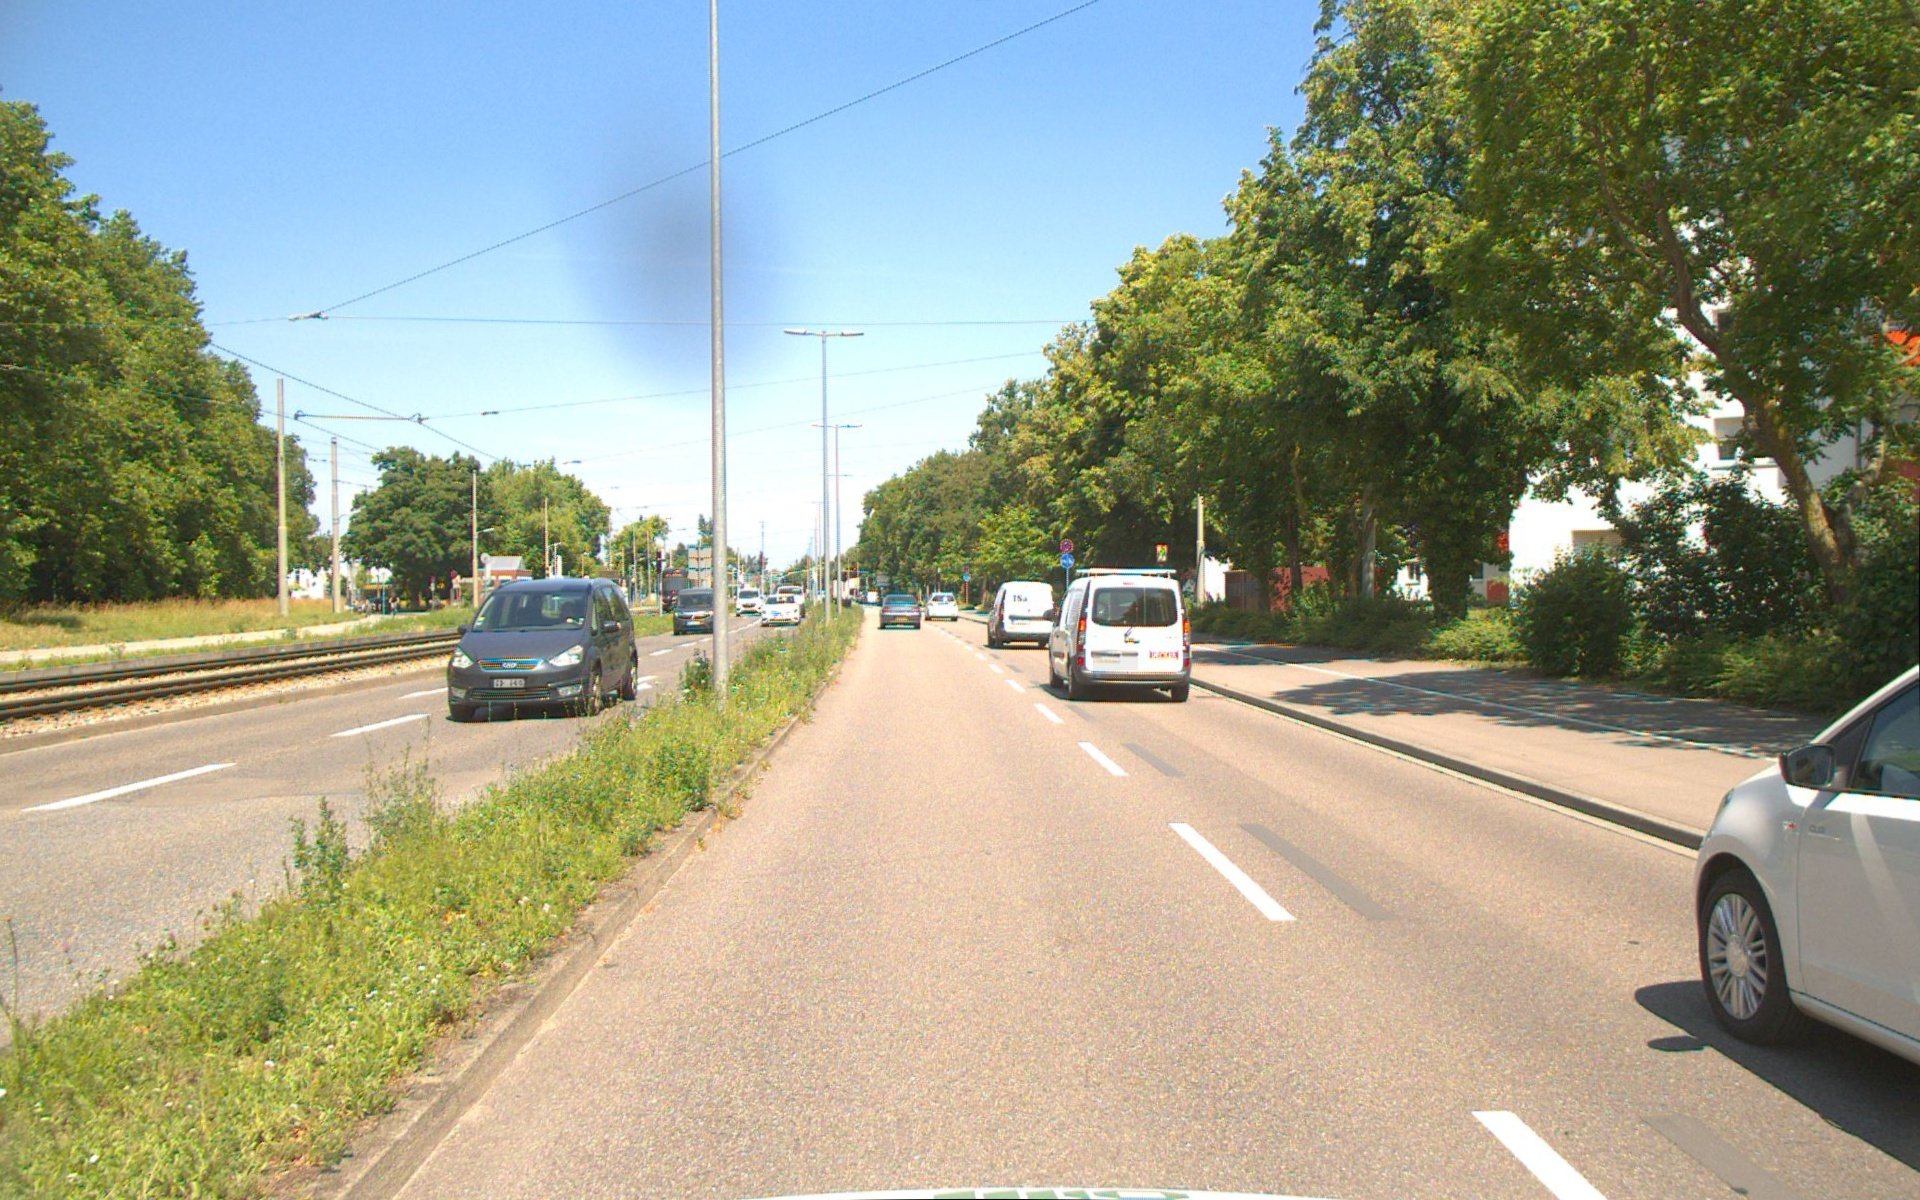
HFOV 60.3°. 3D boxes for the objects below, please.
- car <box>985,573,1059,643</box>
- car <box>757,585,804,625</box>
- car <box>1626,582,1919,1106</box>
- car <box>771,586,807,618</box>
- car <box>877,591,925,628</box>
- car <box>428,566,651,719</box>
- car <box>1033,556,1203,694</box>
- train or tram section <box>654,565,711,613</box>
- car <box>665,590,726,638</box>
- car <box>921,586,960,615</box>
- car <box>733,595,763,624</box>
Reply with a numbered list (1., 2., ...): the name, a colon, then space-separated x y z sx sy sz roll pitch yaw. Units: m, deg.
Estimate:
1. car: 1.682 0.201 45.907 1.693 1.845 3.998 1 1 -3
2. car: -8.408 0.238 77.715 1.793 1.769 4.036 -2 0 -2
3. car: 3.517 0.693 4.670 1.625 1.475 3.853 1 0 -2
4. car: -10.776 0.109 104.273 1.793 1.939 5.564 -2 0 -2
5. car: -2.480 0.373 68.947 1.767 1.512 3.995 0 0 -6
6. car: -5.399 0.482 21.885 1.792 1.743 4.792 -2 0 -2
7. car: 2.301 0.343 25.258 1.789 1.914 4.451 1 0 -5
8. train or tram section: -24.733 -0.879 149.482 2.734 3.732 37.468 0 0 -6
9. car: -10.679 0.539 66.972 1.793 1.833 4.613 -2 0 -2
10. car: -1.087 0.030 91.156 1.768 1.567 3.995 0 0 -6
11. car: -15.732 0.675 122.796 1.852 2.052 5.078 -3 0 -4
